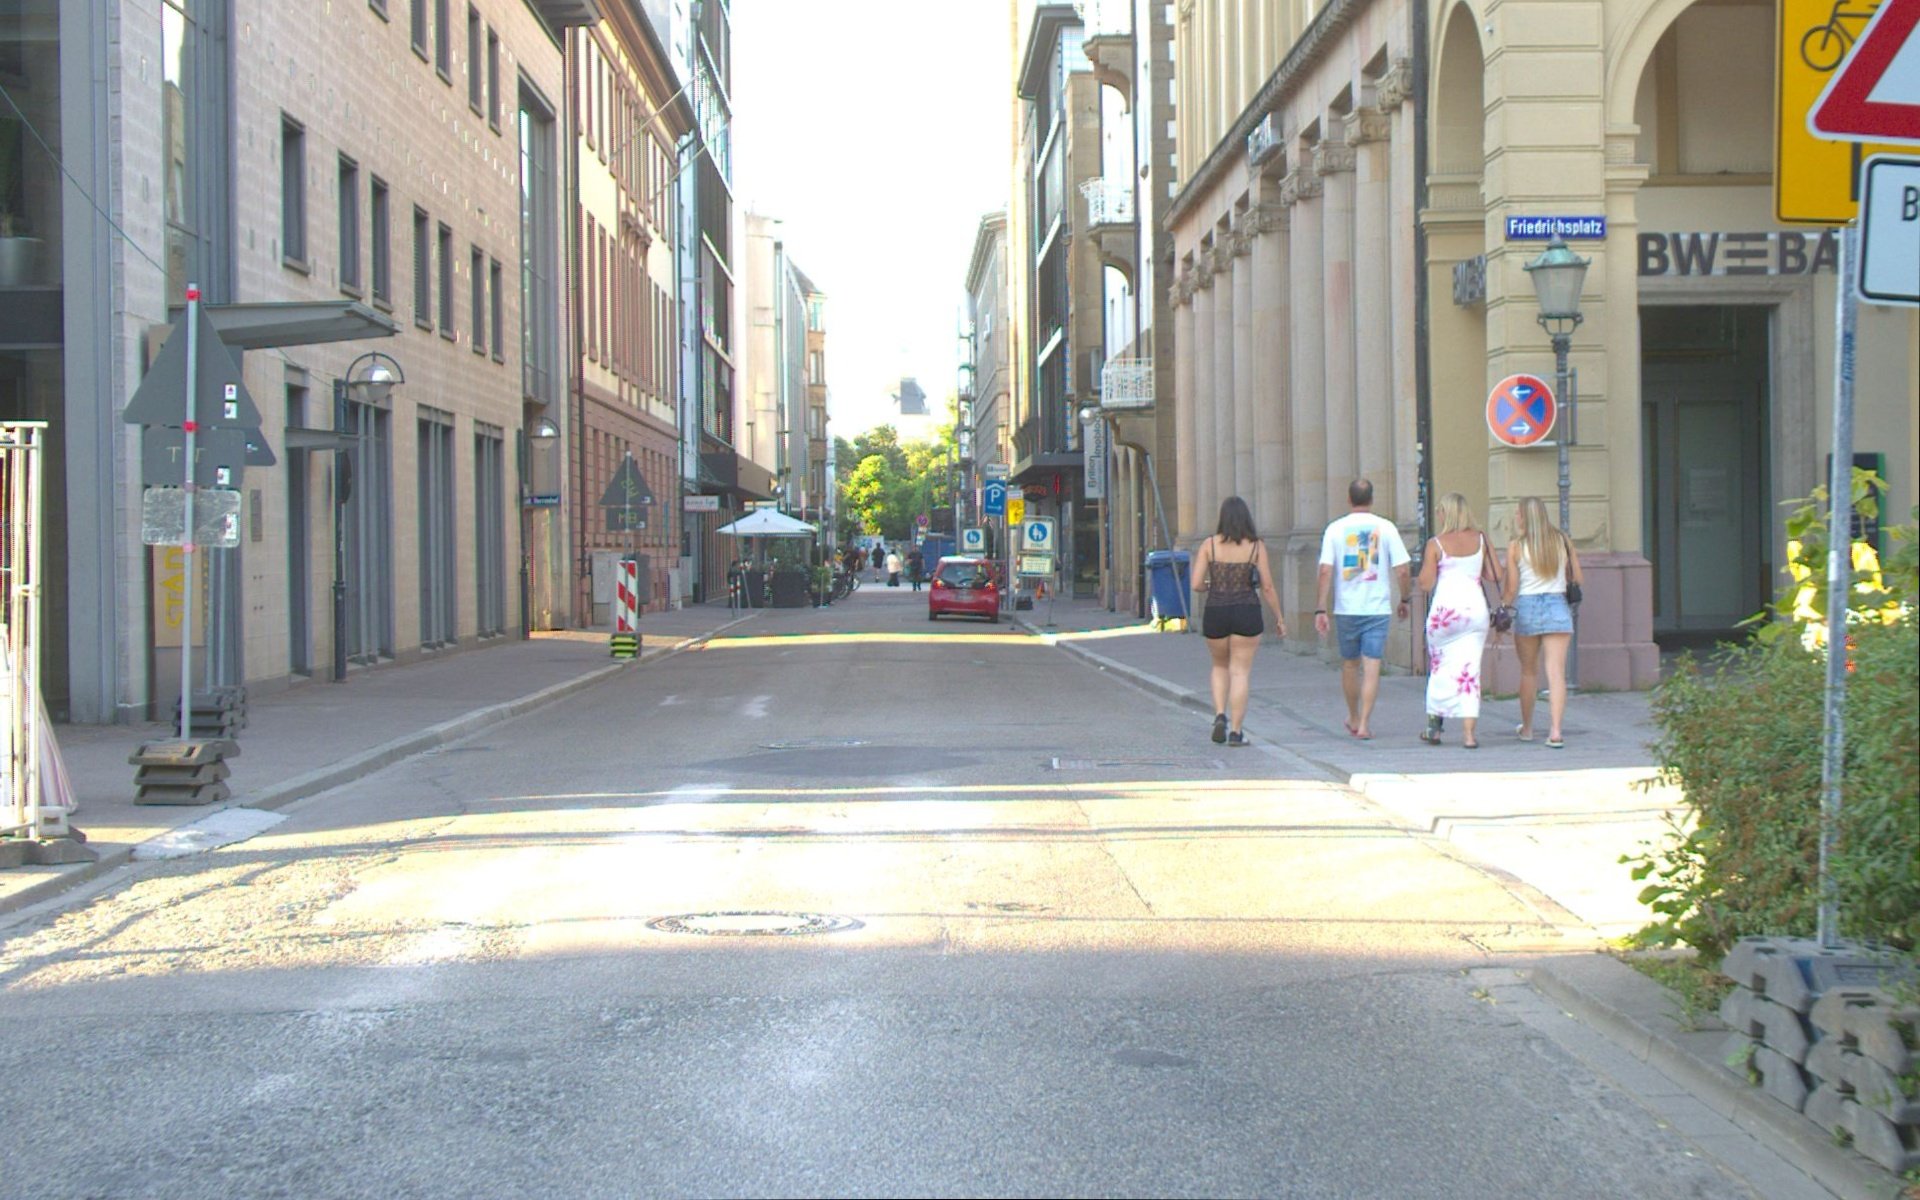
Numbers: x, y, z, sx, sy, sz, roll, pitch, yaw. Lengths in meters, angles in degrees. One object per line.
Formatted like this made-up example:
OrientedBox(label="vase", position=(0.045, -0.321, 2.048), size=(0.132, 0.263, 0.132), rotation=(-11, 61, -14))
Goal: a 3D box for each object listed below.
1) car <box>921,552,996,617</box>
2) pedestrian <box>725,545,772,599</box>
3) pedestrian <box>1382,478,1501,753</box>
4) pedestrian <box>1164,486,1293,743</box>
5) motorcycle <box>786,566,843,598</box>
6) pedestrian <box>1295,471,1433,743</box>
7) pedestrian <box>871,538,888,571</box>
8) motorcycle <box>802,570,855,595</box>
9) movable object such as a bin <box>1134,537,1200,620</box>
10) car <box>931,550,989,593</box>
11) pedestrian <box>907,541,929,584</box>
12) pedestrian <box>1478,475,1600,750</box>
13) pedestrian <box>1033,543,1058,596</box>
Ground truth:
OrientedBox(label="car", position=(-0.042, -0.374, 79.532), size=(1.649, 1.422, 3.535), rotation=(2, 1, 0))
OrientedBox(label="pedestrian", position=(-5.844, -0.785, 95.177), size=(1.290, 1.482, 0.661), rotation=(0, 1, -3))
OrientedBox(label="pedestrian", position=(3.208, 0.097, 22.971), size=(0.636, 1.797, 0.772), rotation=(-1, 1, -2))
OrientedBox(label="pedestrian", position=(1.862, 0.093, 23.938), size=(0.775, 1.740, 0.875), rotation=(-1, 1, -2))
OrientedBox(label="motorcycle", position=(-4.709, -0.582, 111.204), size=(1.801, 1.037, 0.494), rotation=(0, 1, -5))
OrientedBox(label="pedestrian", position=(2.847, 0.042, 24.299), size=(0.812, 1.869, 0.875), rotation=(-1, 1, -2))
OrientedBox(label="pedestrian", position=(-4.068, -2.313, 174.532), size=(0.804, 1.667, 0.888), rotation=(-1, 1, 1))
OrientedBox(label="motorcycle", position=(-4.563, -0.615, 119.388), size=(1.801, 0.872, 0.560), rotation=(0, 1, -5))
OrientedBox(label="movable object such as a bin", position=(3.524, -0.373, 58.609), size=(0.990, 1.387, 1.241), rotation=(-1, 1, -2))
OrientedBox(label="car", position=(-0.007, -1.074, 128.835), size=(1.993, 1.605, 4.000), rotation=(0, 1, -2))
OrientedBox(label="pedestrian", position=(-1.676, -1.477, 136.228), size=(0.865, 1.707, 0.852), rotation=(0, 1, -1))
OrientedBox(label="pedestrian", position=(3.863, 0.079, 22.990), size=(0.636, 1.797, 0.772), rotation=(-1, 1, -2))
OrientedBox(label="pedestrian", position=(2.423, -0.863, 97.521), size=(0.656, 1.482, 0.493), rotation=(-1, 1, 1))
